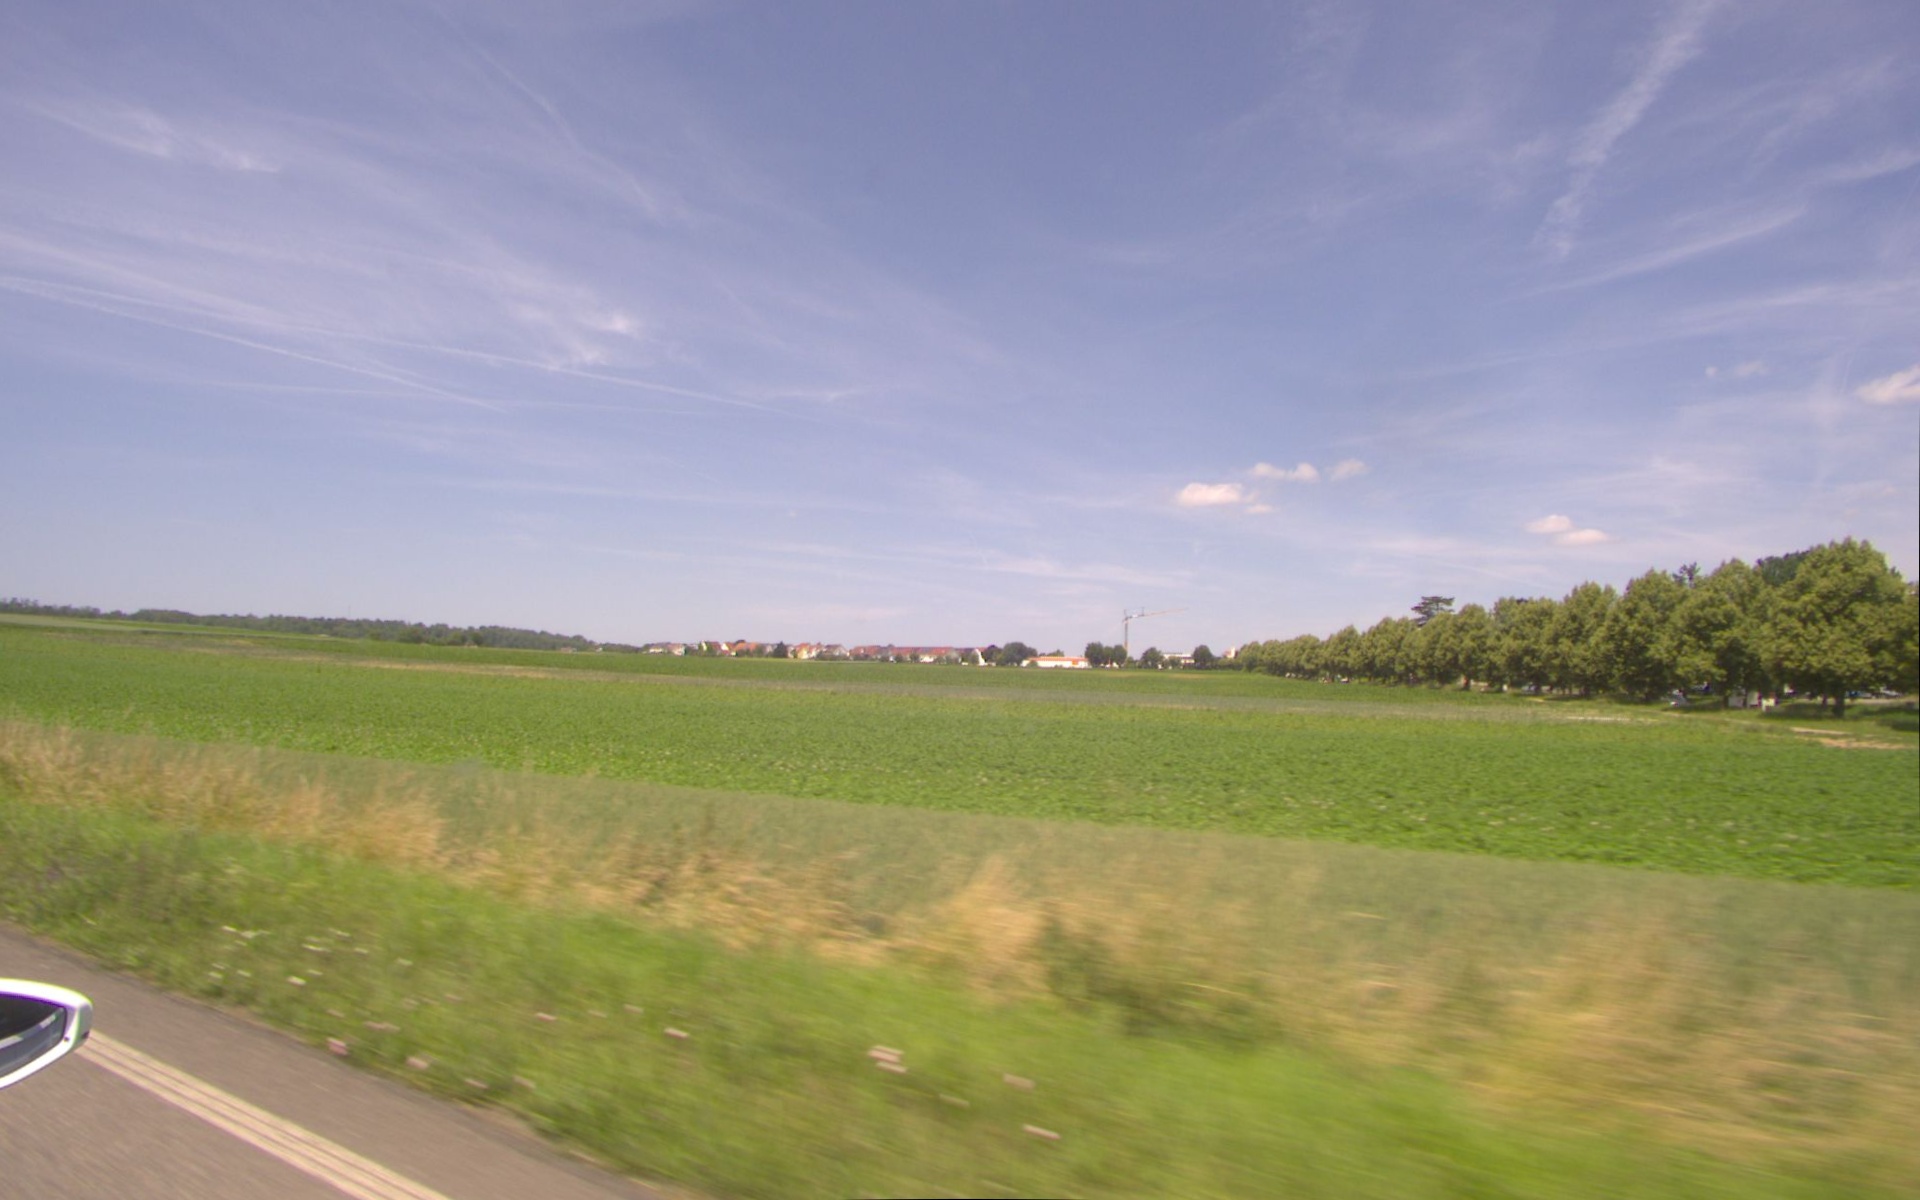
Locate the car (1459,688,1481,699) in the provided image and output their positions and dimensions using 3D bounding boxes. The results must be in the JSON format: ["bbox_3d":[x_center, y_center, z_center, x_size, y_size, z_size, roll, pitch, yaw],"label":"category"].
[{"bbox_3d":[82.781,15.158,162.694,1.962,1.668,4.005,-1,-5,8],"label":"car"}]
